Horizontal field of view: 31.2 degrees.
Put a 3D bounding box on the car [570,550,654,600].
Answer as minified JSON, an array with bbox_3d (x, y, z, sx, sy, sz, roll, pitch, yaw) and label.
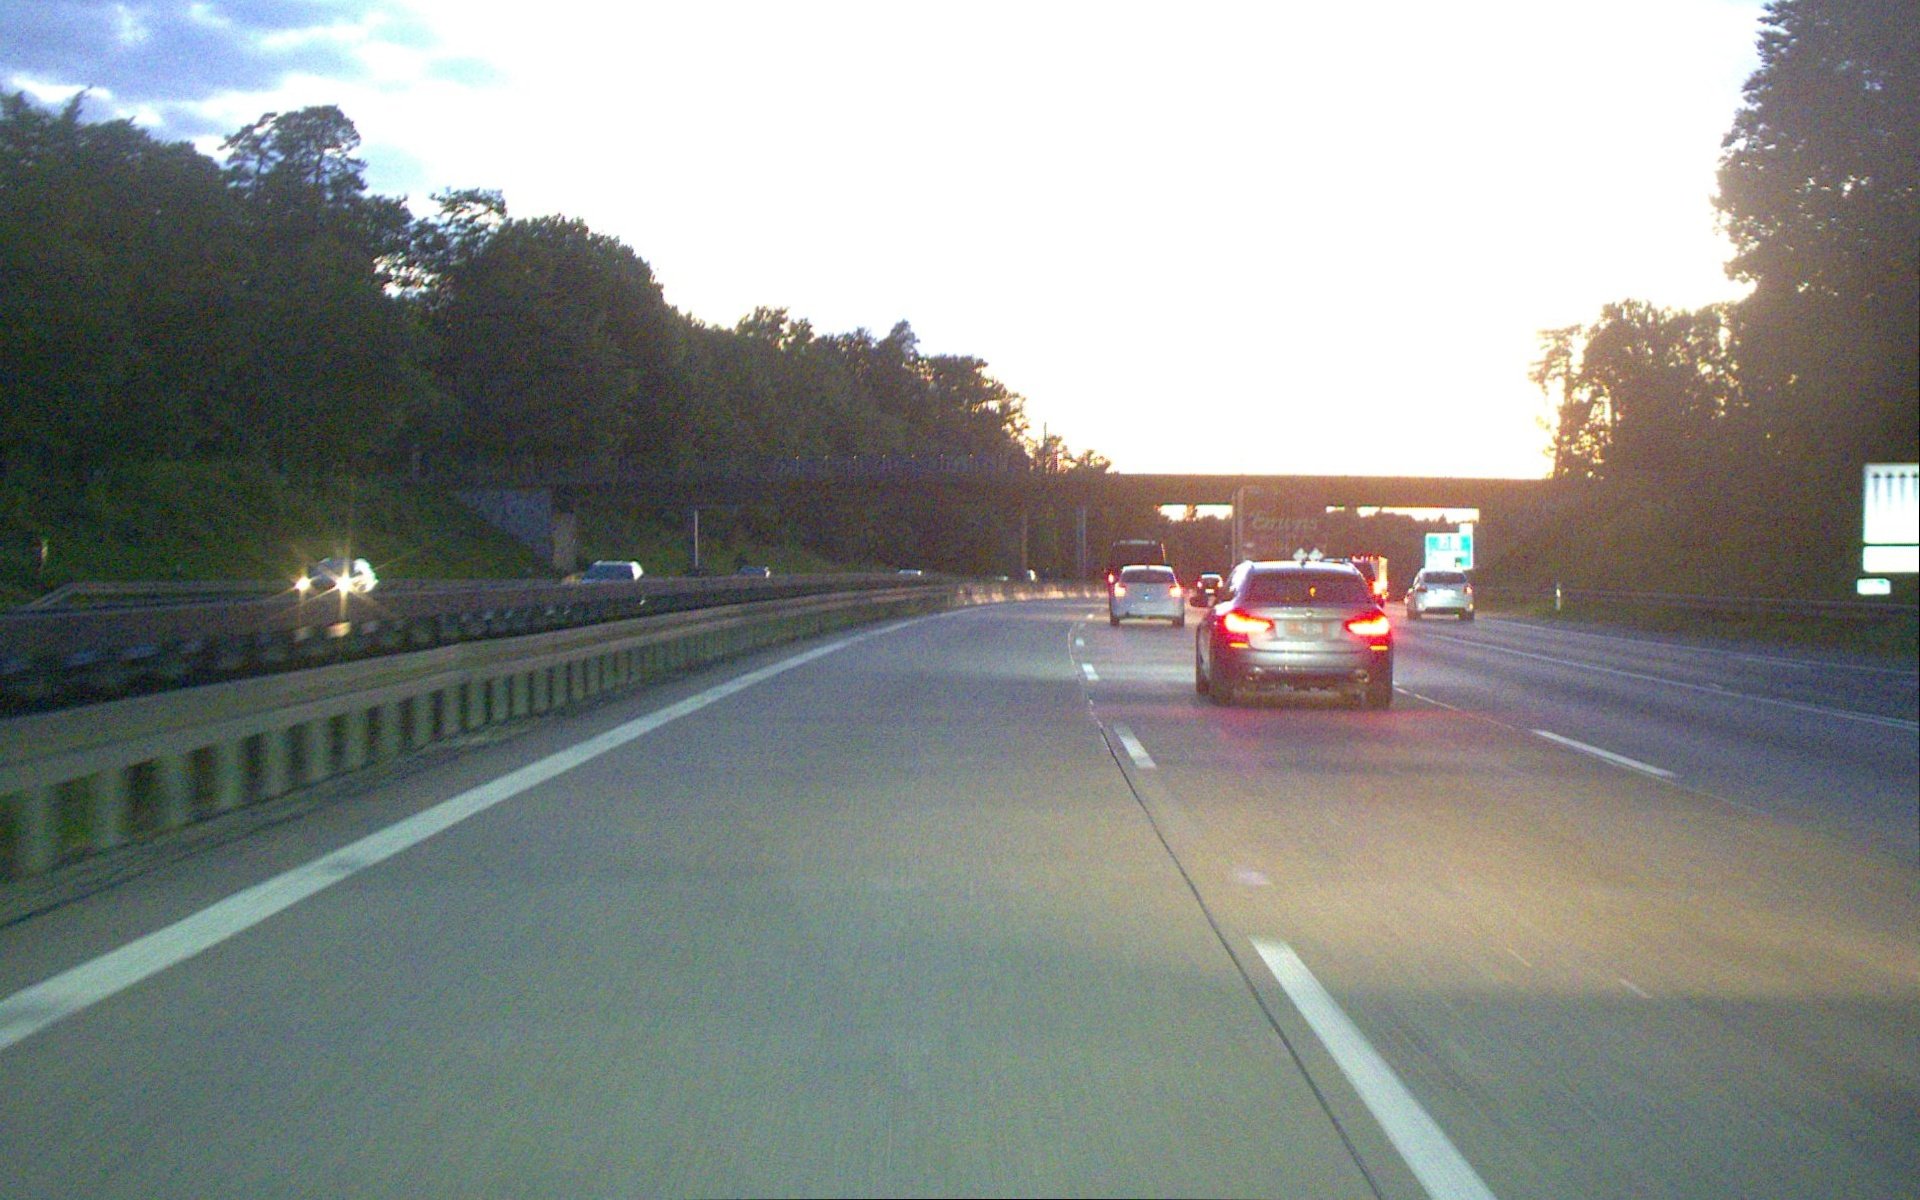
[{"bbox_3d":[-10.144,-0.743,100.454,1.815,1.376,4.908,1,1,2],"label":"car"}]

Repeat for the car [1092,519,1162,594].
[{"bbox_3d":[5.794,-1.457,118.473,2.166,2.411,5.562,1,-1,5],"label":"car"}]

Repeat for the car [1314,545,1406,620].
[{"bbox_3d":[9.025,-0.386,77.873,1.903,1.638,5.051,1,0,5],"label":"car"}]

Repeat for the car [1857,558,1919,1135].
[{"bbox_3d":[3.359,0.691,6.784,1.809,1.461,5.132,0,1,0],"label":"car"}]

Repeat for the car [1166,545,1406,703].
[{"bbox_3d":[3.391,0.198,36.735,1.909,1.532,5.232,0,1,-2],"label":"car"}]

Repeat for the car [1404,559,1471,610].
[{"bbox_3d":[14.121,-0.433,101.789,1.860,1.437,4.110,1,0,7],"label":"car"}]

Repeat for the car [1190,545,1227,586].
[{"bbox_3d":[15.564,-2.137,215.045,2.166,2.411,5.562,1,-1,5],"label":"car"}]

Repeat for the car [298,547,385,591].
[{"bbox_3d":[-20.203,-1.021,112.516,1.815,1.376,4.908,1,1,2],"label":"car"}]

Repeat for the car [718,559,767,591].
[{"bbox_3d":[-10.374,-1.196,164.104,1.843,1.450,3.601,1,1,4],"label":"car"}]

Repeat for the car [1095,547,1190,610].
[{"bbox_3d":[4.345,-0.525,82.406,1.859,1.437,3.721,0,1,-3],"label":"car"}]

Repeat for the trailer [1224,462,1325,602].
[{"bbox_3d":[9.953,-2.054,109.554,2.907,4.087,10.355,1,-1,4],"label":"trailer"}]

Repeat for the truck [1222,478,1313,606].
[{"bbox_3d":[10.661,-1.925,120.133,2.885,4.087,10.829,1,-1,4],"label":"truck"}]
